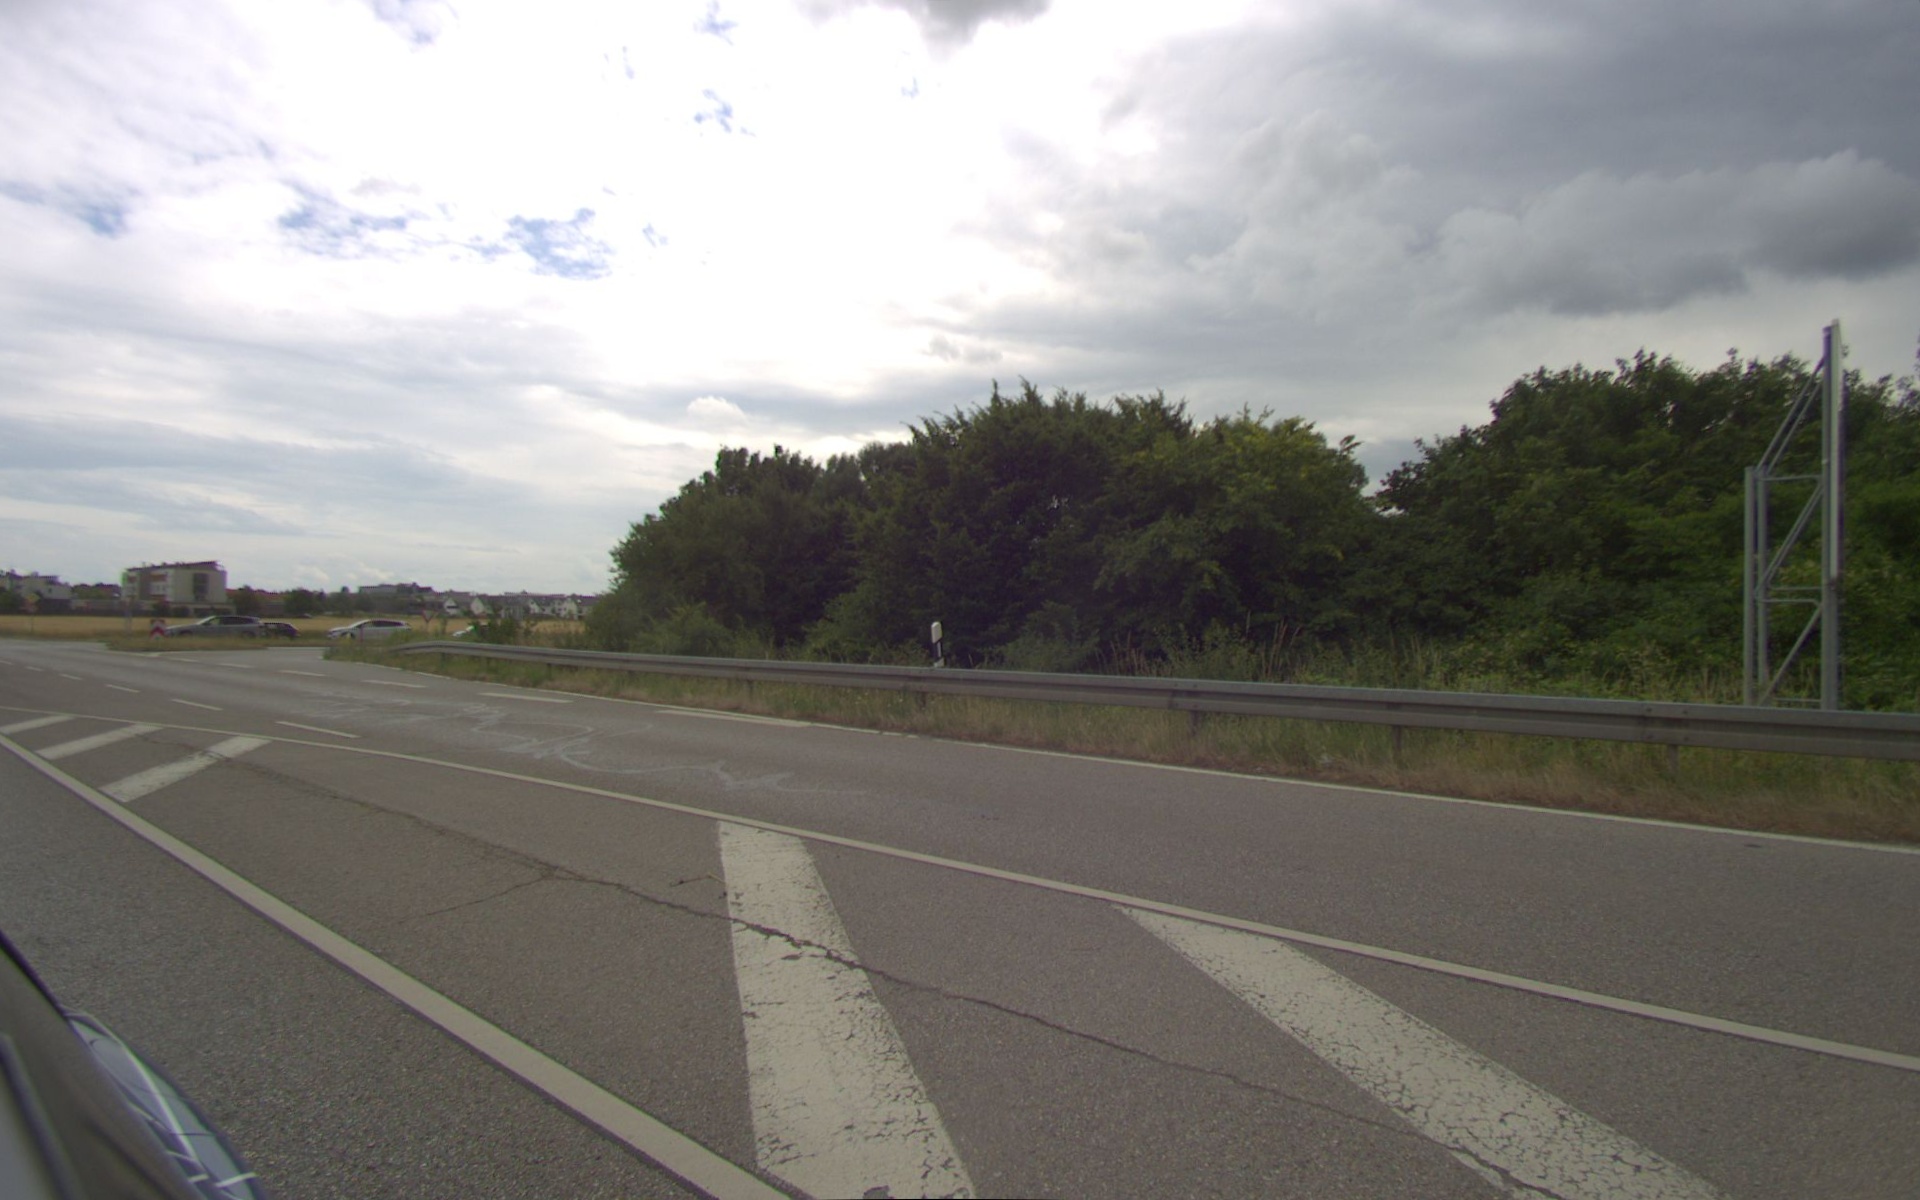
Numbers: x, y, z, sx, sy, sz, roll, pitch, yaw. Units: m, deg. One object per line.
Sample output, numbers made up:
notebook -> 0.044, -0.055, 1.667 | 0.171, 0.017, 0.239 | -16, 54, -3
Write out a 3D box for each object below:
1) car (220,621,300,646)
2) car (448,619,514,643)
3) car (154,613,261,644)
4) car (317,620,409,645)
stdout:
car -> -42.617, 2.011, 61.683 | 3.779, 1.501, 2.002 | 1, -2, -42
car -> -32.127, 2.067, 67.941 | 3.662, 1.510, 1.732 | 1, -2, -42
car -> -43.018, 1.604, 57.898 | 4.744, 1.702, 2.002 | 1, -2, -42
car -> -37.076, 1.978, 62.935 | 4.607, 1.510, 2.002 | 1, -2, -42
